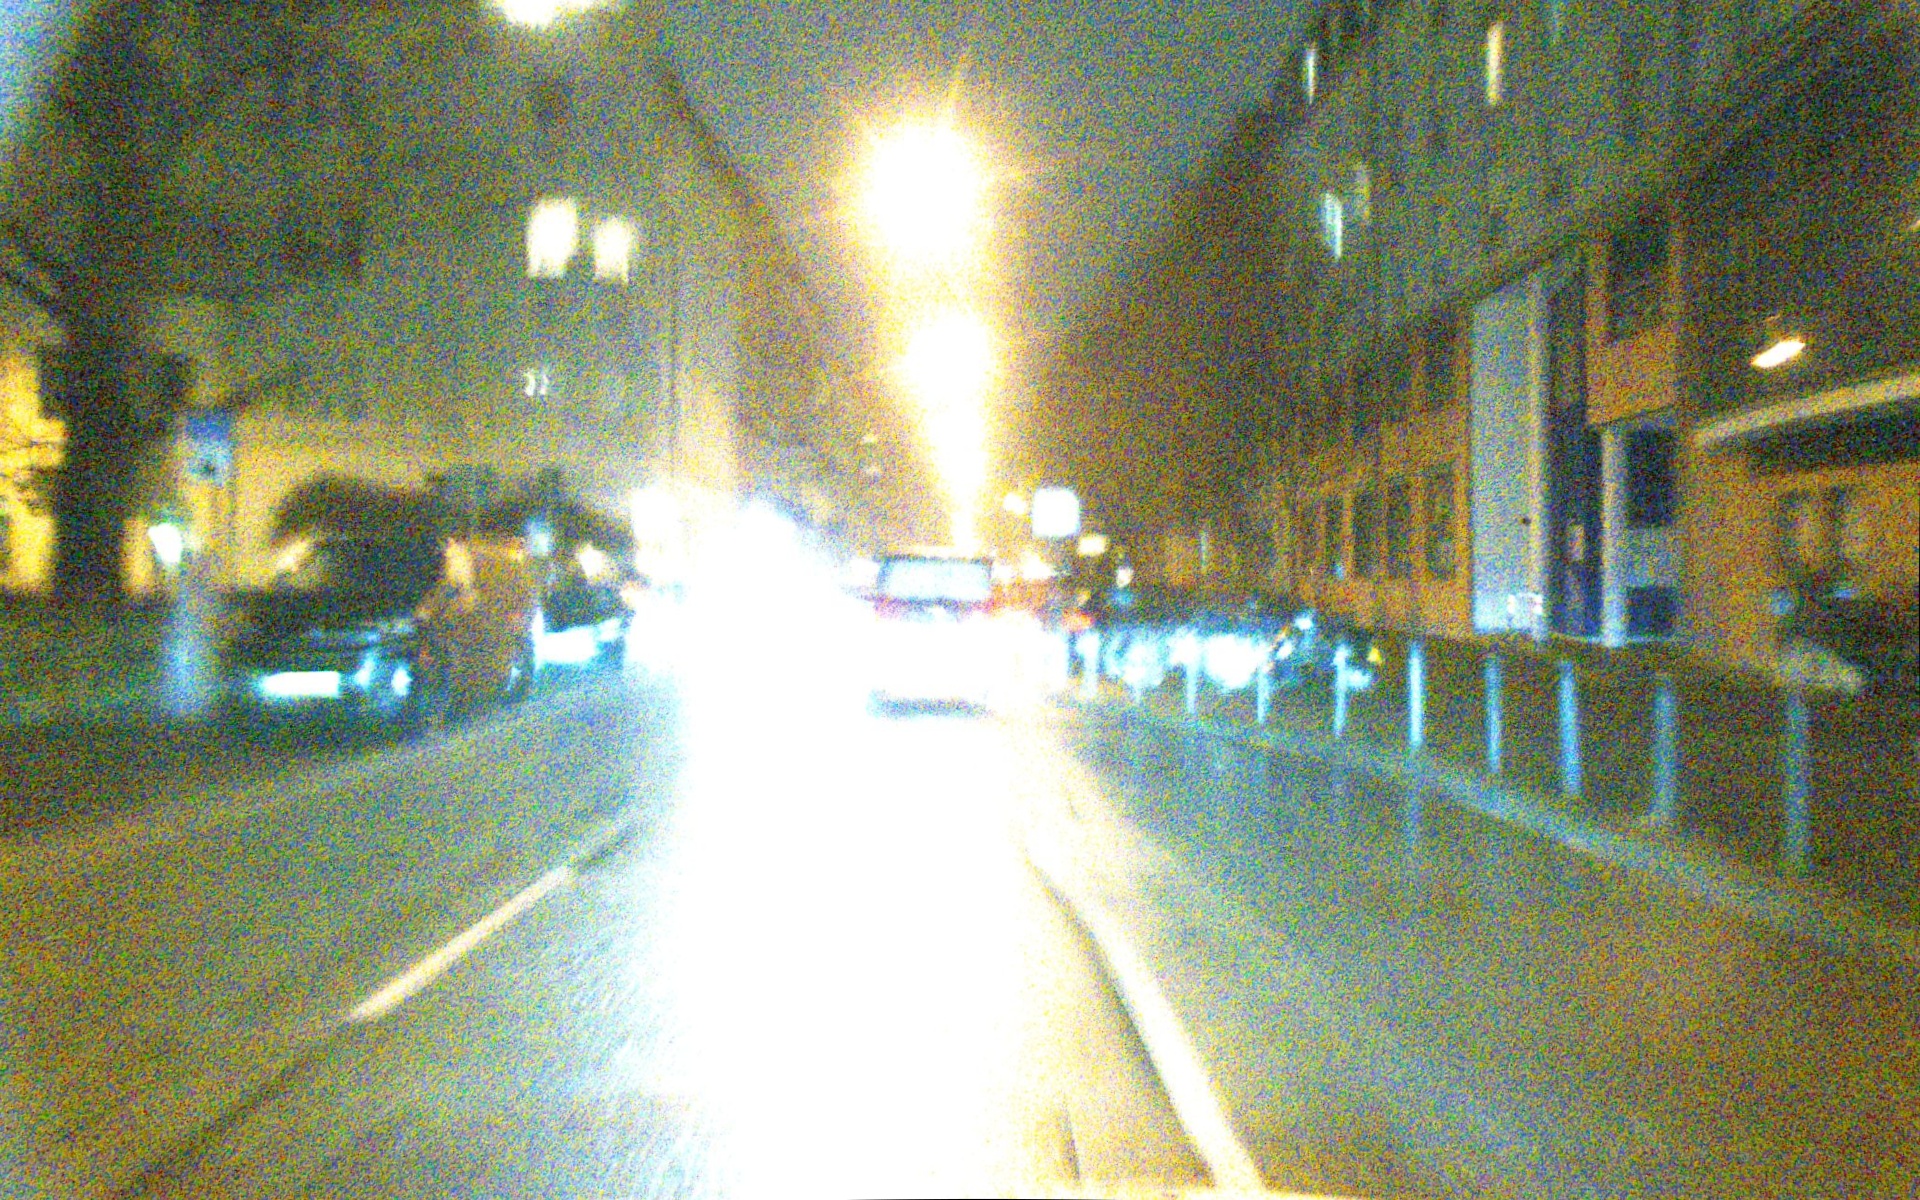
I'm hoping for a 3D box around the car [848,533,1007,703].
[{"bbox_3d":[-0.402,0.239,22.756,1.953,2.086,4.000,1,-1,0],"label":"car"}]

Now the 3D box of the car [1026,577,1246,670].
[{"bbox_3d":[3.205,0.398,30.071,3.654,1.549,1.644,-1,0,-25],"label":"car"}]

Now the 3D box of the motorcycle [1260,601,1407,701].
[{"bbox_3d":[4.552,0.612,20.212,1.601,1.143,0.652,-2,0,-7],"label":"motorcycle"}]

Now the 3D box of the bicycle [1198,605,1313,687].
[{"bbox_3d":[4.255,0.653,23.813,1.564,1.131,0.417,-1,0,-4],"label":"bicycle"}]

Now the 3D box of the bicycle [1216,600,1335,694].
[{"bbox_3d":[4.342,0.638,22.807,1.547,1.255,0.418,-1,0,2],"label":"bicycle"}]

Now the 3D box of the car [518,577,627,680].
[{"bbox_3d":[-6.227,0.406,26.429,1.521,1.468,3.549,3,0,-15],"label":"car"}]

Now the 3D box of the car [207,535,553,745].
[{"bbox_3d":[-5.783,0.346,17.208,1.828,1.878,4.827,0,0,1],"label":"car"}]

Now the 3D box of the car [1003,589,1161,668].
[{"bbox_3d":[2.605,0.608,35.334,2.996,1.579,1.495,2,0,-22],"label":"car"}]

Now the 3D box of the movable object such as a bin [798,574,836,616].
[{"bbox_3d":[-5.246,-0.189,60.742,1.183,1.485,1.107,2,0,2],"label":"movable object such as a bin"}]

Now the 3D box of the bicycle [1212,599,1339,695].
[{"bbox_3d":[4.242,0.630,22.288,1.629,1.255,0.385,-1,0,2],"label":"bicycle"}]

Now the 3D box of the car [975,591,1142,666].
[{"bbox_3d":[2.297,0.655,38.617,3.504,1.639,1.702,2,0,-22],"label":"car"}]

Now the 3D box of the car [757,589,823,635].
[{"bbox_3d":[-5.352,0.358,52.504,1.620,1.383,4.222,1,0,0],"label":"car"}]

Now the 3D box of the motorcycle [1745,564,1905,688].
[{"bbox_3d":[9.923,0.270,19.060,0.513,1.341,2.122,1,0,-7],"label":"motorcycle"}]

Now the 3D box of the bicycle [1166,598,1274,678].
[{"bbox_3d":[3.956,0.569,25.183,1.564,1.178,0.417,-1,0,-4],"label":"bicycle"}]

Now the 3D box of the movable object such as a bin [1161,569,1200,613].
[{"bbox_3d":[7.802,-0.318,58.552,1.184,1.476,0.999,-4,0,0],"label":"movable object such as a bin"}]

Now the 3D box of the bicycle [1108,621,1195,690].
[{"bbox_3d":[2.717,0.787,23.490,1.187,0.964,0.302,1,0,-4],"label":"bicycle"}]

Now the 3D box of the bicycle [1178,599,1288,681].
[{"bbox_3d":[4.082,0.596,24.747,1.564,1.178,0.417,-1,0,-4],"label":"bicycle"}]

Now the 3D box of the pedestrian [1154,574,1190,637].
[{"bbox_3d":[6.614,0.176,51.605,0.822,1.867,0.946,-4,-1,-4],"label":"pedestrian"}]

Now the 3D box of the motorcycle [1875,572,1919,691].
[{"bbox_3d":[10.167,0.336,16.803,0.512,1.229,2.125,1,0,-1],"label":"motorcycle"}]

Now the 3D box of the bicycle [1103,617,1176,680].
[{"bbox_3d":[2.820,0.766,26.043,1.109,0.964,0.267,1,0,-3],"label":"bicycle"}]

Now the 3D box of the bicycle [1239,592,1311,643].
[{"bbox_3d":[7.711,0.415,40.498,1.653,1.166,0.428,-2,1,-8],"label":"bicycle"}]

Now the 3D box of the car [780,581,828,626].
[{"bbox_3d":[-6.276,0.137,66.814,1.570,1.736,3.721,1,0,0],"label":"car"}]

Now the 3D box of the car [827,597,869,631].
[{"bbox_3d":[-5.259,0.651,78.150,1.652,1.481,4.315,2,1,0],"label":"car"}]

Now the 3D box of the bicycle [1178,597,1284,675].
[{"bbox_3d":[4.217,0.555,25.726,1.564,1.178,0.417,-1,0,-4],"label":"bicycle"}]

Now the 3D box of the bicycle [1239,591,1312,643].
[{"bbox_3d":[7.607,0.397,39.922,1.653,1.166,0.428,-2,1,-8],"label":"bicycle"}]

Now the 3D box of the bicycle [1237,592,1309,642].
[{"bbox_3d":[7.766,0.416,41.033,1.653,1.166,0.485,-2,1,-8],"label":"bicycle"}]

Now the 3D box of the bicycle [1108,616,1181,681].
[{"bbox_3d":[2.870,0.756,25.750,1.109,0.991,0.249,1,0,-3],"label":"bicycle"}]

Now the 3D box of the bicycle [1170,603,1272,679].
[{"bbox_3d":[4.155,0.654,26.391,1.561,1.178,0.540,-1,0,8],"label":"bicycle"}]
